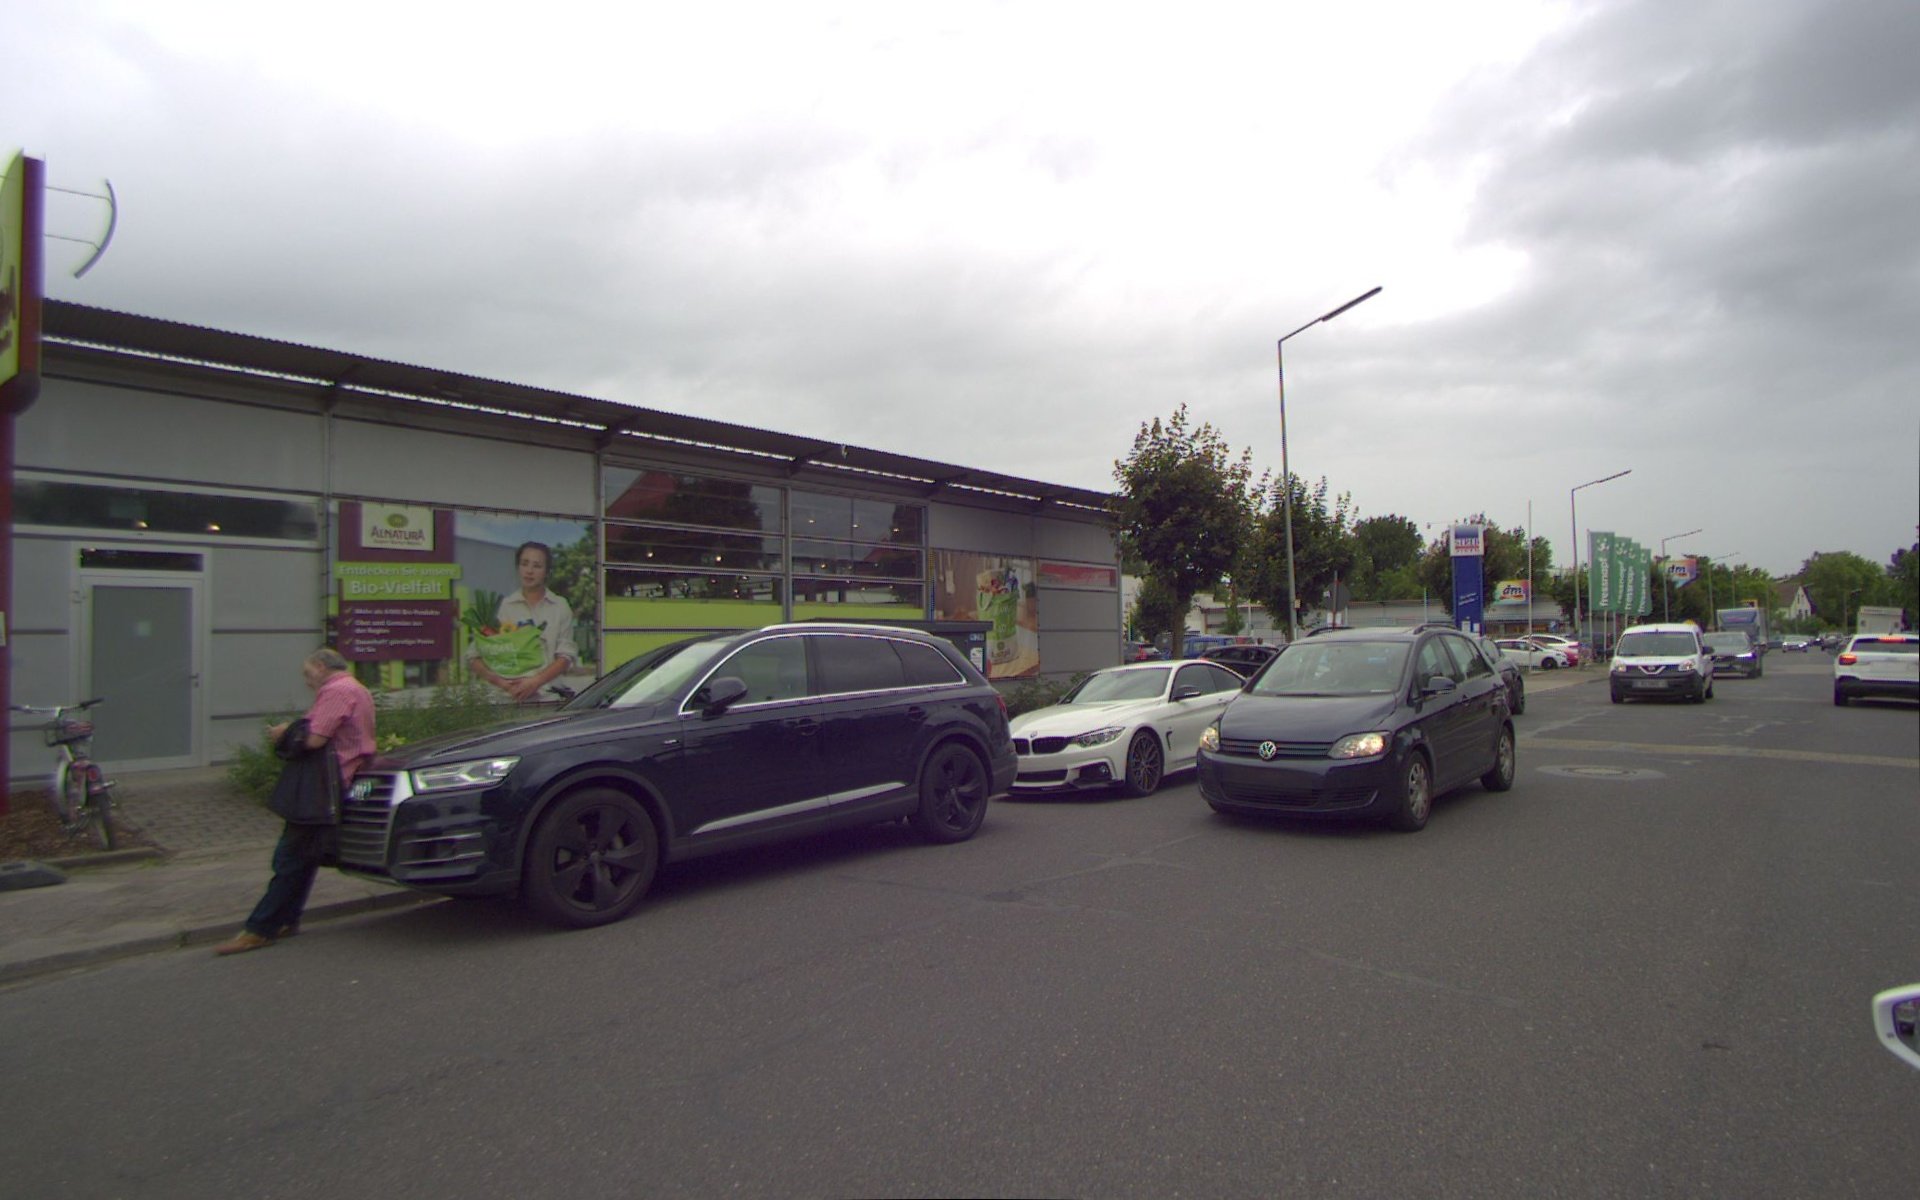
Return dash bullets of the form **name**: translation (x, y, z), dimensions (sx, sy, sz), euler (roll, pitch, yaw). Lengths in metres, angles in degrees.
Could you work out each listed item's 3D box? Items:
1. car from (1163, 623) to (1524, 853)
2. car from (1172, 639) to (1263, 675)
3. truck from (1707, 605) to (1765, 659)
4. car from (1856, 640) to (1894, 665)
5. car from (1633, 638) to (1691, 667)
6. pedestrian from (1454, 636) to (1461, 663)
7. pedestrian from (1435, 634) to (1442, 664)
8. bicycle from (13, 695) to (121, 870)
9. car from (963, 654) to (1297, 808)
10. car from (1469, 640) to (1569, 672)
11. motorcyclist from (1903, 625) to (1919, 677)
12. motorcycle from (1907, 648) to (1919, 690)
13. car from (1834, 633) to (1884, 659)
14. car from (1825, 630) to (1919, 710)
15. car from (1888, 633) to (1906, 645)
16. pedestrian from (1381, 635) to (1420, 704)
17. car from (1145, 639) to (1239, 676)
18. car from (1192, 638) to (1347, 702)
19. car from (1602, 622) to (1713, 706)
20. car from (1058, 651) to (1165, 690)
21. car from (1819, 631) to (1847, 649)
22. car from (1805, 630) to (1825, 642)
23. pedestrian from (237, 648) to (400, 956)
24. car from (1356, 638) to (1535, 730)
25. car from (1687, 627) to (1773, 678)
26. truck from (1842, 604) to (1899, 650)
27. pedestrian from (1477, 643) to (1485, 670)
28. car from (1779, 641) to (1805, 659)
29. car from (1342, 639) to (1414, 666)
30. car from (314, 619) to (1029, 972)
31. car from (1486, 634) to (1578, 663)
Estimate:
- **car**: translation (3.609, 1.056, 9.044), dimensions (1.710, 1.592, 3.925), euler (-4, -4, 42)
- **car**: translation (12.769, 2.814, 49.892), dimensions (3.944, 1.691, 1.866), euler (-3, -3, 42)
- **truck**: translation (60.535, 2.527, 78.312), dimensions (2.942, 4.007, 6.370), euler (-4, -4, 42)
- **car**: translation (69.984, 4.024, 76.848), dimensions (1.970, 1.829, 3.981), euler (-1, -2, 40)
- **car**: translation (34.590, 2.559, 49.483), dimensions (1.877, 1.385, 3.979), euler (-3, -3, 42)
- **pedestrian**: translation (29.335, 2.915, 59.217), dimensions (0.353, 1.590, 0.503), euler (-2, -2, 28)
- **pedestrian**: translation (28.831, 2.949, 60.521), dimensions (0.259, 1.752, 0.422), euler (-2, -2, 29)
- **bicycle**: translation (-6.929, 1.350, 7.770), dimensions (1.640, 1.060, 0.390), euler (3, 1, 41)
- **car**: translation (2.167, 1.435, 11.753), dimensions (1.680, 1.384, 4.495), euler (-9, -7, 40)
- **car**: translation (27.768, 2.777, 49.973), dimensions (4.148, 1.482, 1.947), euler (-4, -4, 35)
- **motorcyclist**: translation (29.218, 1.553, 30.616), dimensions (0.618, 1.574, 0.600), euler (-3, -3, 44)
- **motorcycle**: translation (29.111, 2.074, 30.389), dimensions (0.634, 1.194, 2.101), euler (-3, -3, 43)
- **car**: translation (50.035, 2.567, 55.966), dimensions (1.916, 1.385, 3.980), euler (-4, -4, 41)
- **car**: translation (19.952, 1.450, 21.663), dimensions (1.866, 1.552, 4.231), euler (0, -1, 42)
- **car**: translation (141.385, 5.928, 151.593), dimensions (1.866, 1.705, 4.231), euler (0, -1, 42)
- **pedestrian**: translation (11.304, 1.763, 25.760), dimensions (0.765, 1.738, 0.694), euler (-1, -2, 38)
- **car**: translation (11.077, 2.726, 48.054), dimensions (3.944, 1.691, 1.866), euler (-3, -3, 42)
- **car**: translation (8.843, 1.943, 28.821), dimensions (3.831, 1.642, 1.917), euler (-1, -2, 43)
- **car**: translation (16.473, 1.476, 23.642), dimensions (1.671, 1.783, 4.115), euler (-5, -5, 40)
- **car**: translation (6.236, 2.899, 41.407), dimensions (3.932, 1.504, 1.872), euler (-4, -4, 33)
- **car**: translation (82.362, 3.770, 94.766), dimensions (1.848, 1.683, 3.981), euler (-4, -4, 40)
- **car**: translation (119.412, 5.060, 140.338), dimensions (1.751, 1.676, 3.736), euler (0, -2, 36)
- **pedestrian**: translation (-3.763, 1.128, 5.887), dimensions (0.666, 1.642, 0.650), euler (-8, -7, 42)
- **car**: translation (9.608, 1.601, 19.712), dimensions (1.926, 1.545, 4.379), euler (-8, -7, 41)
- **car**: translation (27.822, 1.886, 36.238), dimensions (1.913, 1.705, 4.468), euler (-4, -4, 43)
- **truck**: translation (75.680, 2.296, 83.657), dimensions (3.098, 3.632, 10.003), euler (-1, -2, 40)
- **pedestrian**: translation (30.785, 3.327, 59.365), dimensions (0.325, 1.590, 0.503), euler (-2, -3, 29)
- **car**: translation (73.703, 4.430, 88.987), dimensions (1.581, 1.547, 3.509), euler (-5, -5, 42)
- **car**: translation (27.223, 3.397, 65.444), dimensions (3.944, 1.691, 1.866), euler (-3, -3, 42)
- **car**: translation (-1.722, 1.096, 7.293), dimensions (1.846, 1.713, 4.702), euler (-8, -6, 42)
- **car**: translation (30.655, 2.598, 53.890), dimensions (4.083, 1.482, 1.891), euler (-3, -3, 37)
